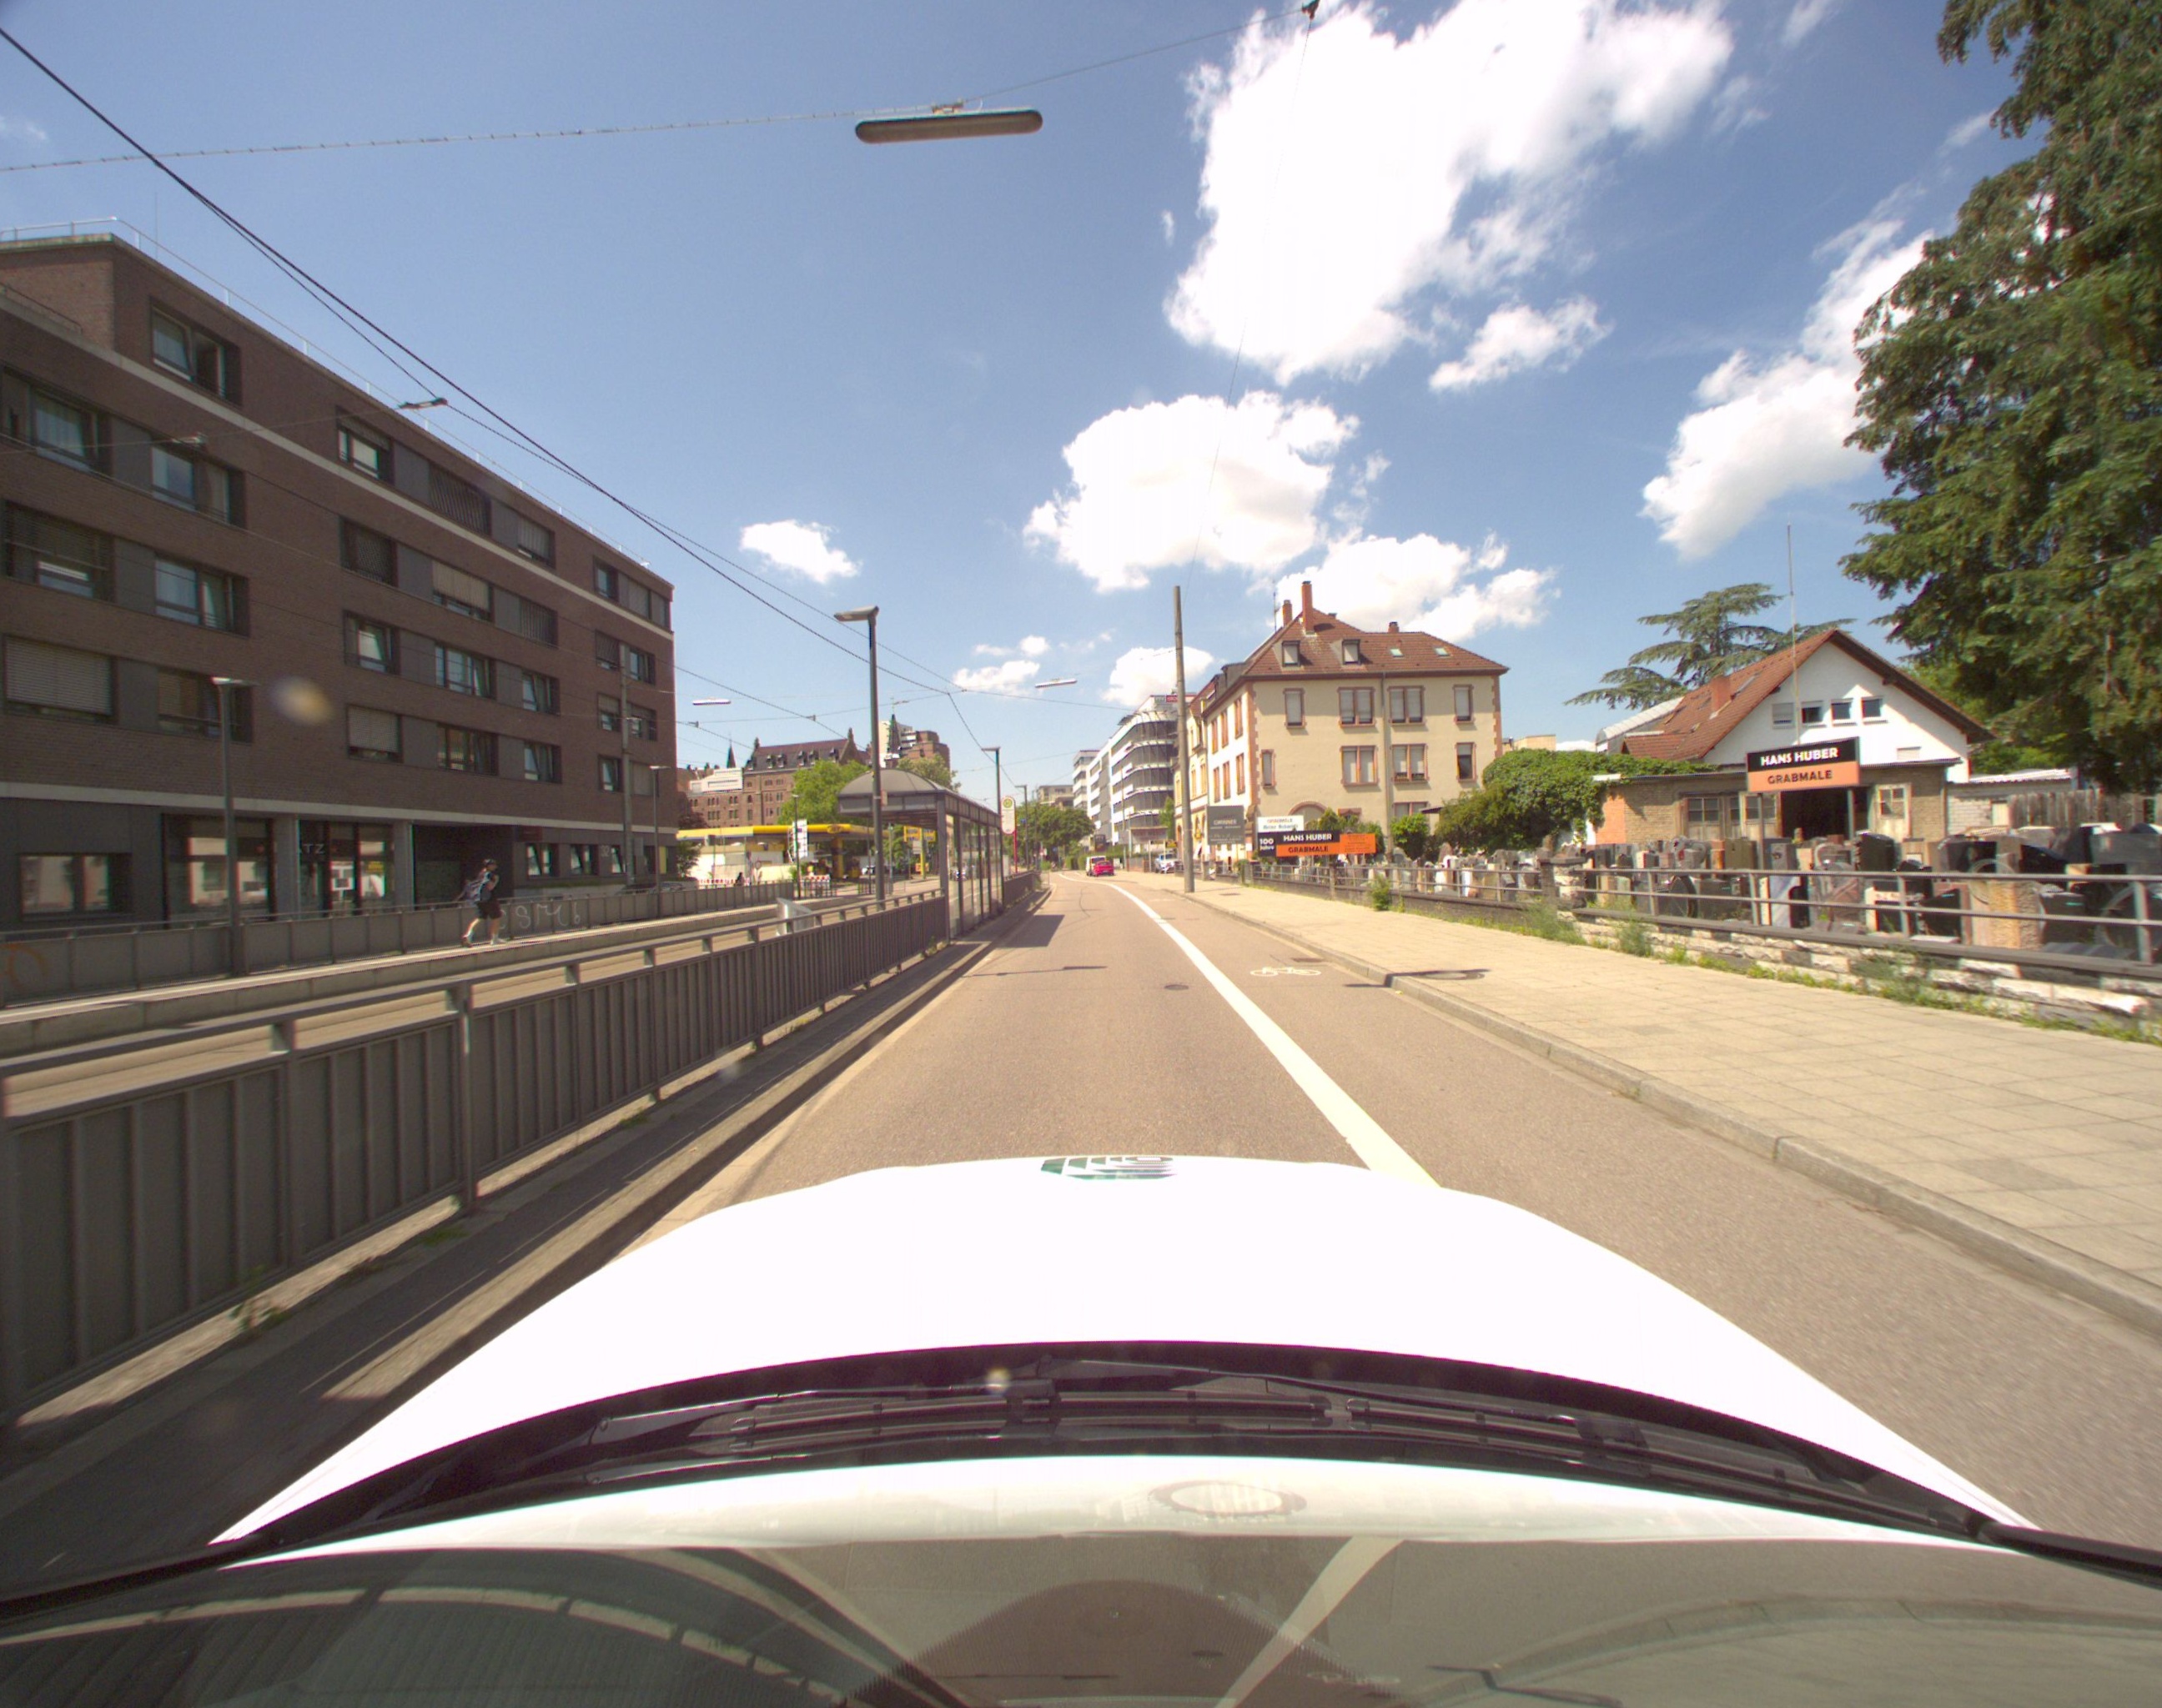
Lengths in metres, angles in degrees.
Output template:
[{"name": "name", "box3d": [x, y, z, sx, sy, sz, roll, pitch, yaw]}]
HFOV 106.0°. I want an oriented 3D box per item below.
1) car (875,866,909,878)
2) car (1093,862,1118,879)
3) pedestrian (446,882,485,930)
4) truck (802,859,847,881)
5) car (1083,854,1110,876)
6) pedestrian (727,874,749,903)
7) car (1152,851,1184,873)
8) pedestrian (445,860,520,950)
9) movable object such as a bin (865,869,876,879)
[{"name": "car", "box3d": [-27.068, 2.586, 116.849, 1.974, 1.590, 4.361, -3, -1, 38]}, {"name": "car", "box3d": [2.288, 1.526, 77.062, 1.990, 1.442, 4.011, -2, -1, -4]}, {"name": "pedestrian", "box3d": [-21.234, 1.785, 28.104, 0.683, 1.596, 0.761, -3, -1, 1]}, {"name": "truck", "box3d": [-29.993, 1.815, 95.312, 1.975, 2.498, 5.233, -2, -1, 25]}, {"name": "car", "box3d": [1.529, 1.121, 83.892, 1.991, 1.991, 5.503, -4, 0, -6]}, {"name": "pedestrian", "box3d": [-18.901, 1.889, 44.910, 0.758, 1.596, 0.999, 1, -1, -3]}, {"name": "car", "box3d": [7.132, 0.656, 67.249, 1.874, 1.624, 4.634, -5, 0, -3]}, {"name": "pedestrian", "box3d": [-12.230, 1.012, 16.665, 0.683, 1.760, 1.034, -3, -1, 1]}, {"name": "movable object such as a bin", "box3d": [-30.195, 2.832, 116.746, 1.337, 1.354, 0.759, -2, -1, 6]}]
